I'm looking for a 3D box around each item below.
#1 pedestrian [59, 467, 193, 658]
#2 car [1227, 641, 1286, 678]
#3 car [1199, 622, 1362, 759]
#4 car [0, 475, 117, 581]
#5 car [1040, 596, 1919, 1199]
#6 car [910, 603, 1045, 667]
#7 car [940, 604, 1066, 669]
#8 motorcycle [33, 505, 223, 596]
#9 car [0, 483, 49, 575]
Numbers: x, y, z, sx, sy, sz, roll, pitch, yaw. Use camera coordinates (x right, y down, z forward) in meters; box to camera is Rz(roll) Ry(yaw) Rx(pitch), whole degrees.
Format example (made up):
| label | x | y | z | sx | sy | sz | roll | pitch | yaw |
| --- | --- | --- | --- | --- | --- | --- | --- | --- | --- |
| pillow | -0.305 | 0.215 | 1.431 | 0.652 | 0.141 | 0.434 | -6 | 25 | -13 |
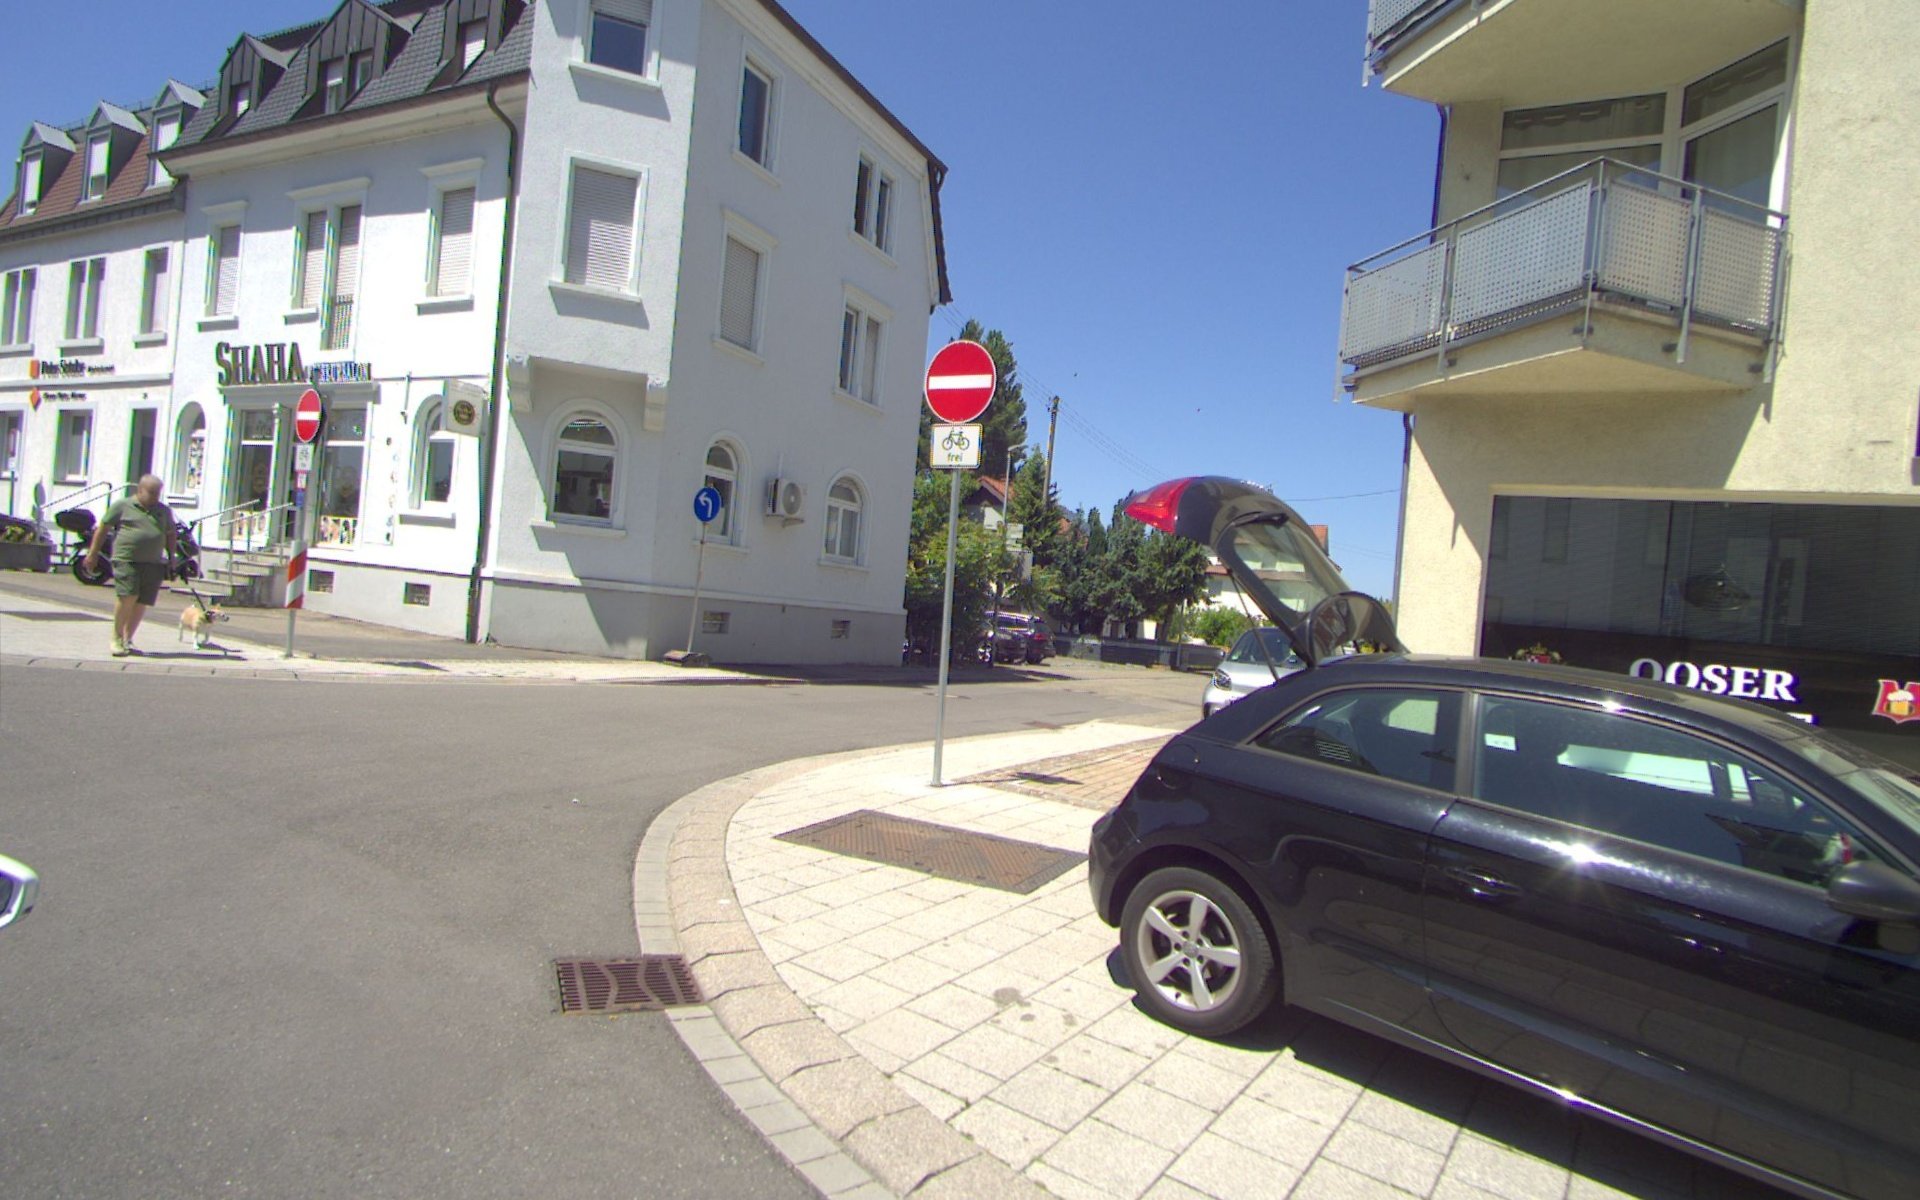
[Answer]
| label | x | y | z | sx | sy | sz | roll | pitch | yaw |
| --- | --- | --- | --- | --- | --- | --- | --- | --- | --- |
| pedestrian | -8.501 | -0.373 | 10.256 | 0.830 | 1.819 | 0.745 | 8 | 1 | 36 |
| car | 15.365 | 3.090 | 51.936 | 1.966 | 1.637 | 3.994 | 6 | -1 | 29 |
| car | 4.329 | 1.174 | 13.382 | 1.504 | 1.489 | 2.734 | 5 | -2 | 28 |
| car | -18.340 | -1.483 | 18.317 | 1.824 | 1.735 | 4.086 | 5 | -2 | 27 |
| car | 2.413 | 0.949 | 3.409 | 3.807 | 1.511 | 1.868 | 7 | 2 | 41 |
| car | 0.560 | 1.169 | 33.709 | 3.934 | 1.660 | 1.996 | 6 | -1 | 32 |
| car | 1.550 | 1.321 | 36.342 | 3.934 | 1.860 | 1.996 | 6 | 0 | 32 |
| motorcycle | -14.761 | -0.841 | 17.944 | 0.841 | 1.290 | 2.382 | 6 | -1 | 28 |
| car | -20.353 | -1.615 | 19.073 | 1.824 | 1.735 | 4.086 | 5 | -2 | 27 |
